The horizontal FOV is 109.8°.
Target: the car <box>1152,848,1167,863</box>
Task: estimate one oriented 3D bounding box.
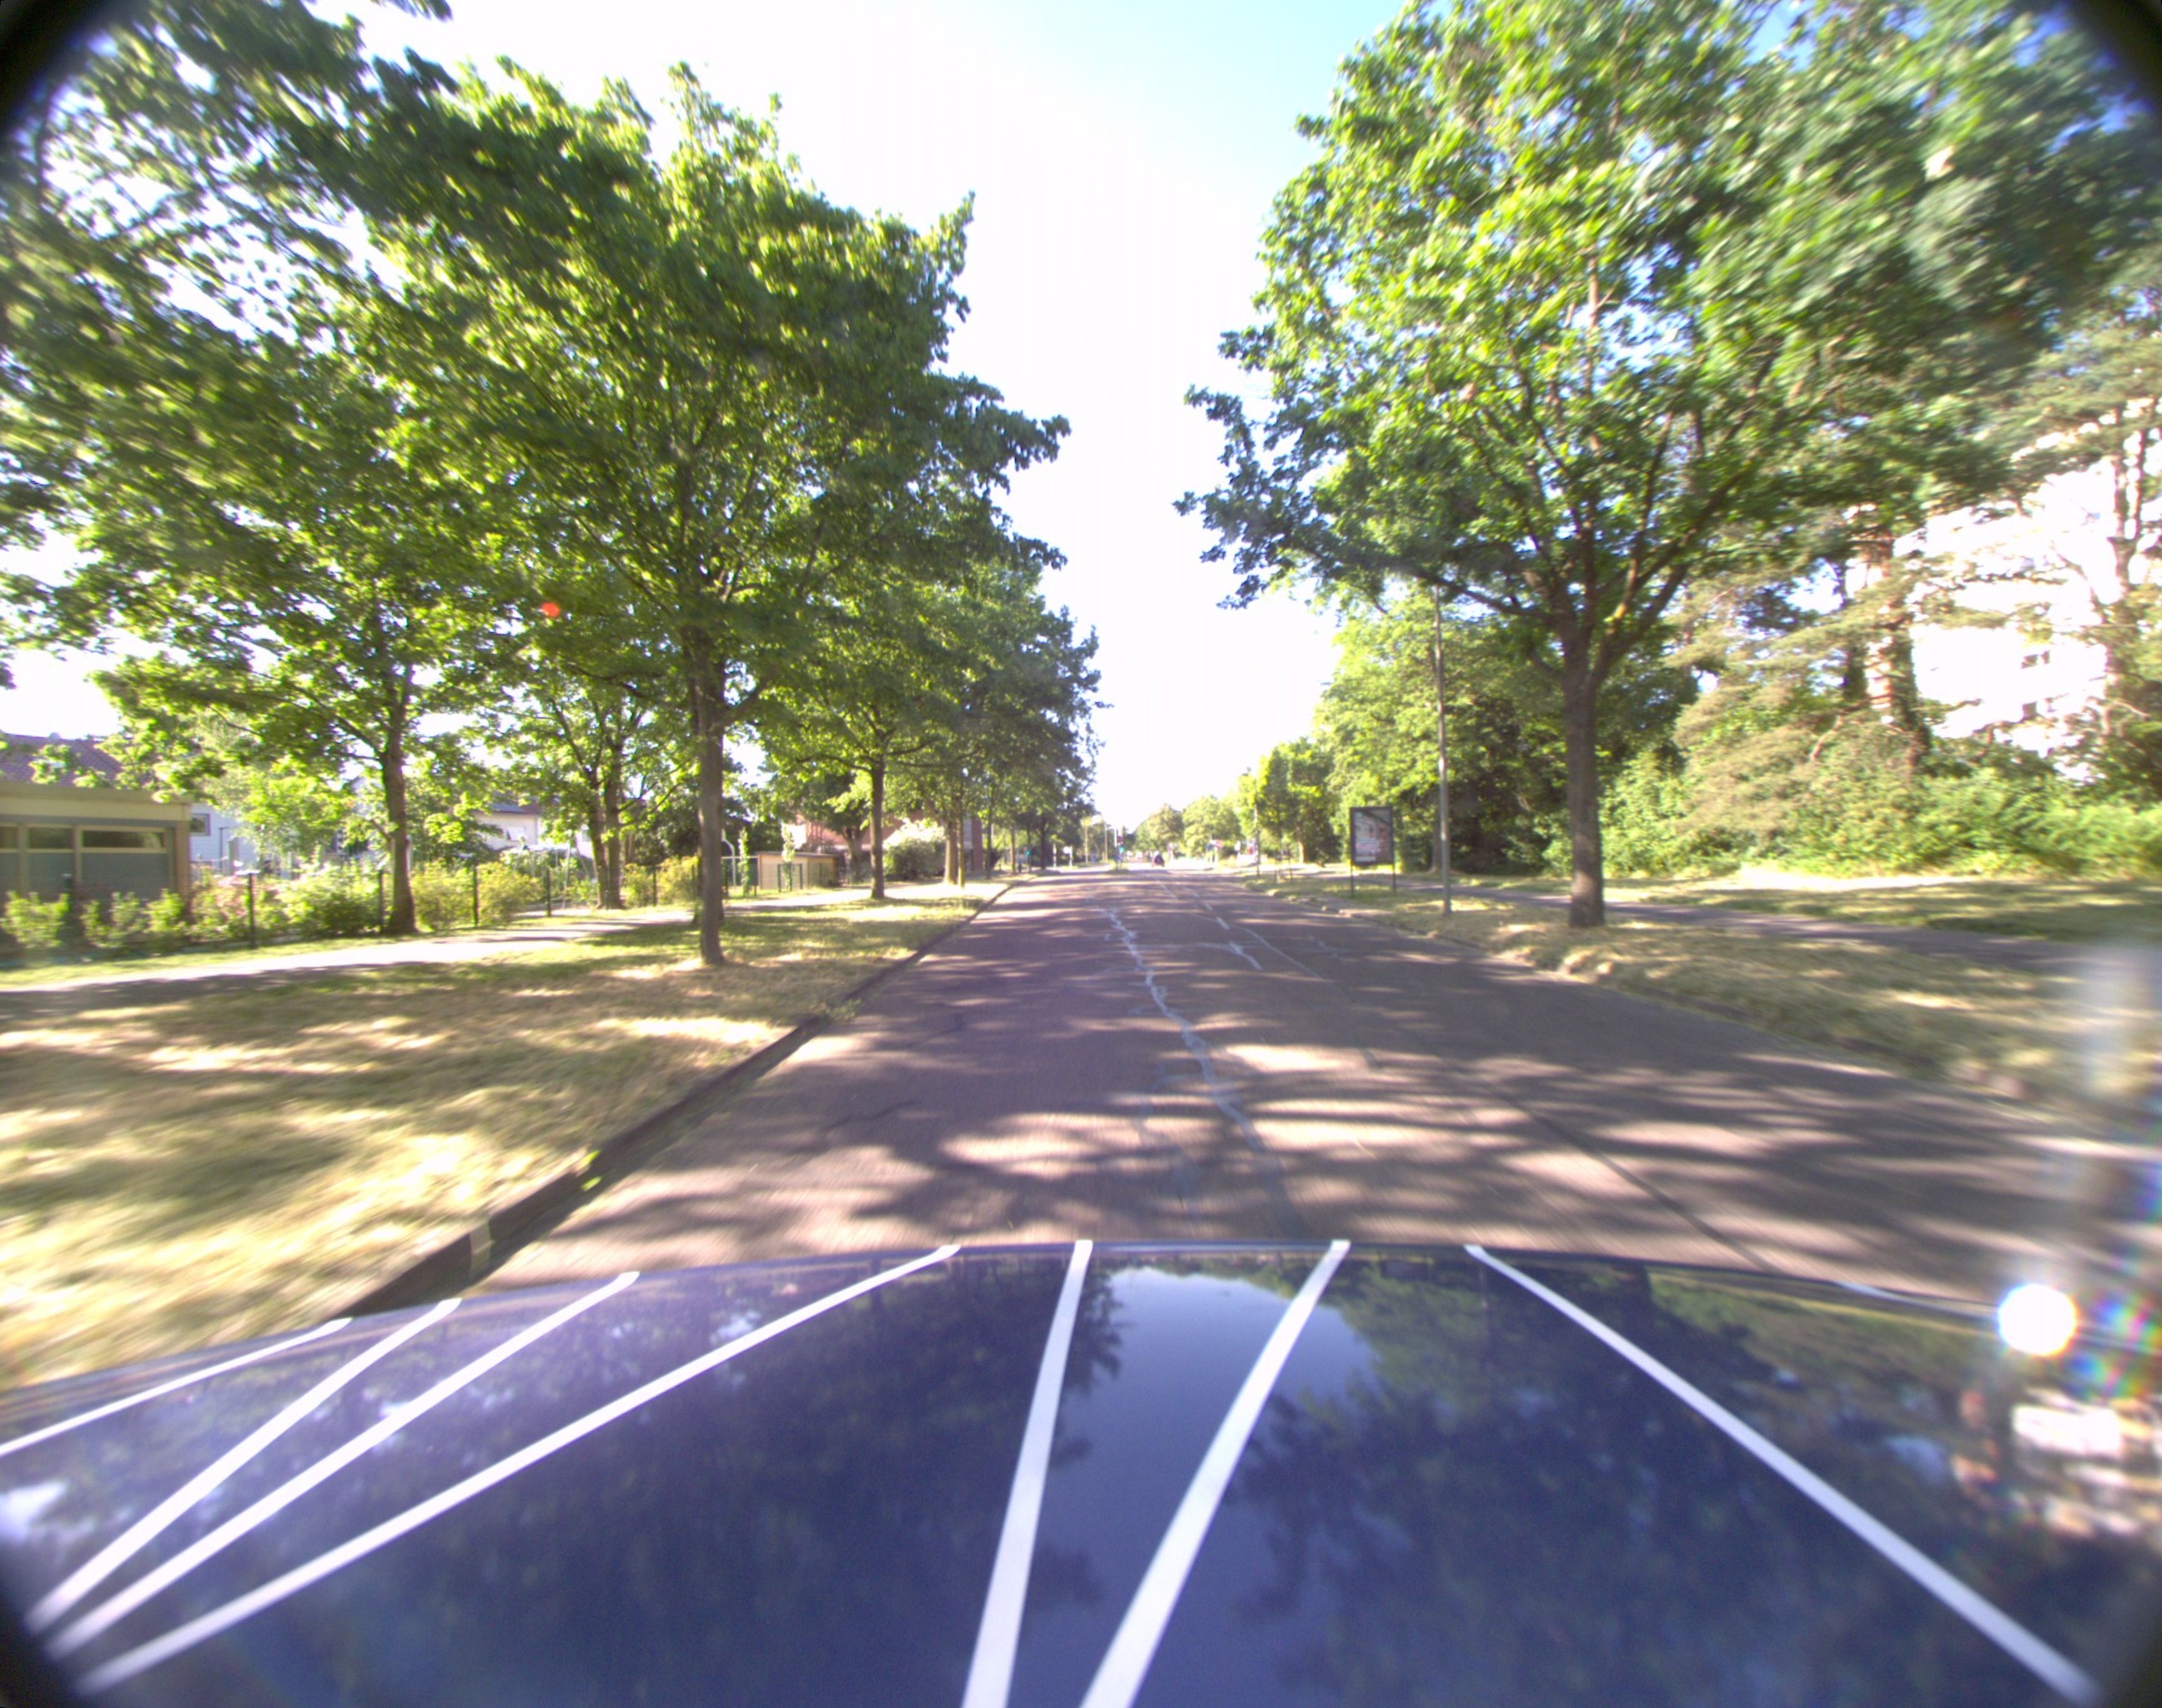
[{"bbox_3d":[11.376,0.168,110.076,1.904,2.082,3.642,1,0,3],"label":"car"}]
